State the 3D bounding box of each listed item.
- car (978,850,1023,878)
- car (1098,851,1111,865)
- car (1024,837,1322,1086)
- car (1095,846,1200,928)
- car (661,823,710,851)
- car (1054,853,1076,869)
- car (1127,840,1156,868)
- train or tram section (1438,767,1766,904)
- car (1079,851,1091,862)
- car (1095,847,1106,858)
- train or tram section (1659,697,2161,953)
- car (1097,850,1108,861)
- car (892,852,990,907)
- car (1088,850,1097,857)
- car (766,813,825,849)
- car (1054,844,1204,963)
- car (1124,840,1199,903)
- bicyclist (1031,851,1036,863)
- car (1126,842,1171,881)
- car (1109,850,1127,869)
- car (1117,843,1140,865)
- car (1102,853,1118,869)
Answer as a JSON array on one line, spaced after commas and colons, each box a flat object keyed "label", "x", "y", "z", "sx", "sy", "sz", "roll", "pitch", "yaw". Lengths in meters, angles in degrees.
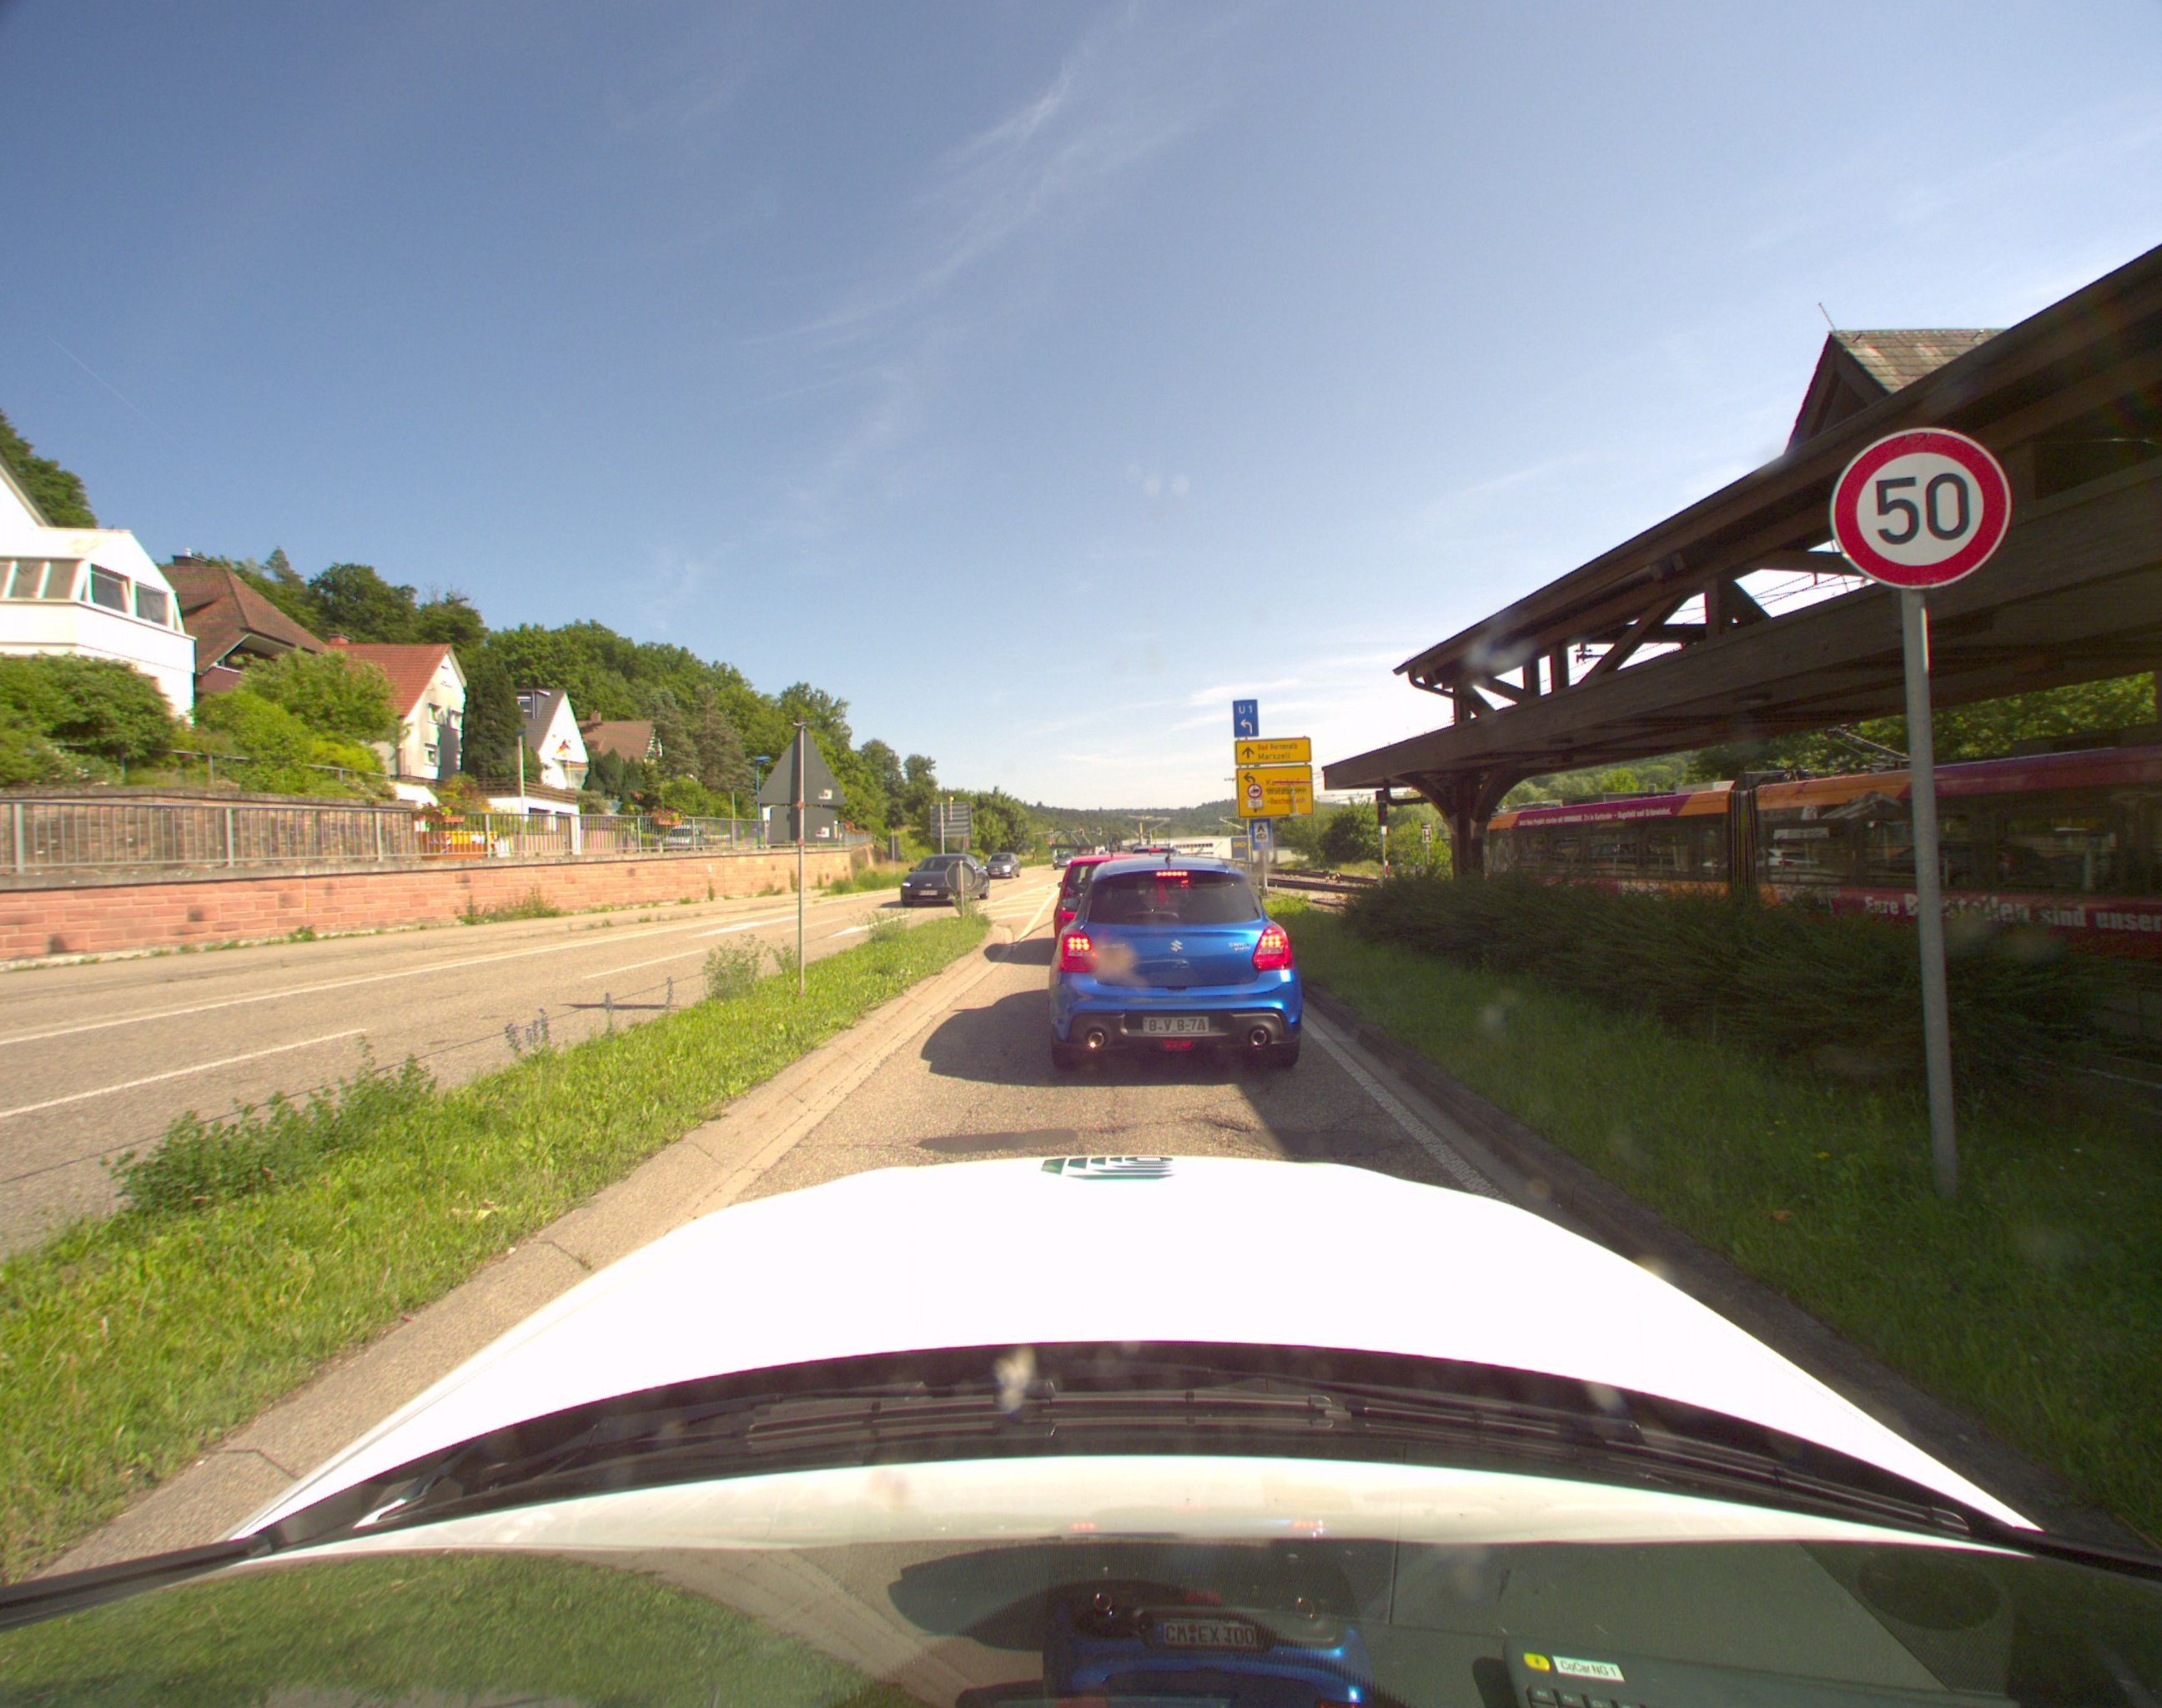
[{"label": "car", "x": -4.827, "y": 0.561, "z": 49.567, "sx": 1.985, "sy": 1.564, "sz": 4.514, "roll": -1, "pitch": 0, "yaw": 4}, {"label": "car", "x": 3.687, "y": 0.625, "z": 126.081, "sx": 1.986, "sy": 2.013, "sz": 4.002, "roll": 0, "pitch": 1, "yaw": 2}, {"label": "car", "x": 0.622, "y": 0.670, "z": 7.146, "sx": 1.862, "sy": 1.548, "sz": 4.001, "roll": -1, "pitch": 0, "yaw": 1}, {"label": "car", "x": 1.417, "y": 0.625, "z": 18.073, "sx": 1.985, "sy": 1.531, "sz": 4.606, "roll": -2, "pitch": 0, "yaw": 3}, {"label": "car", "x": -24.456, "y": -1.007, "z": 50.486, "sx": 1.898, "sy": 1.629, "sz": 3.981, "roll": -1, "pitch": 0, "yaw": -14}, {"label": "car", "x": -1.426, "y": 0.637, "z": 73.825, "sx": 1.665, "sy": 1.441, "sz": 3.843, "roll": -1, "pitch": 0, "yaw": 3}, {"label": "car", "x": 4.503, "y": -0.017, "z": 60.871, "sx": 1.986, "sy": 2.013, "sz": 4.002, "roll": 0, "pitch": 1, "yaw": 2}, {"label": "train or tram section", "x": 15.463, "y": -0.523, "z": 26.040, "sx": 2.747, "sy": 3.364, "sz": 12.046, "roll": 0, "pitch": 1, "yaw": 0}, {"label": "car", "x": 0.676, "y": 0.431, "z": 140.367, "sx": 1.986, "sy": 1.783, "sz": 4.002, "roll": 0, "pitch": 0, "yaw": 2}, {"label": "car", "x": 3.873, "y": -0.249, "z": 161.169, "sx": 1.986, "sy": 2.144, "sz": 4.722, "roll": 0, "pitch": 0, "yaw": 2}, {"label": "train or tram section", "x": 15.545, "y": -0.363, "z": 13.948, "sx": 2.777, "sy": 3.364, "sz": 12.045, "roll": 0, "pitch": 0, "yaw": 0}, {"label": "car", "x": 3.841, "y": 0.205, "z": 144.420, "sx": 1.986, "sy": 1.816, "sz": 4.002, "roll": 0, "pitch": 1, "yaw": 2}, {"label": "car", "x": -4.116, "y": 0.692, "z": 24.710, "sx": 1.783, "sy": 1.470, "sz": 4.722, "roll": -1, "pitch": 0, "yaw": 5}, {"label": "car", "x": 2.670, "y": -0.192, "z": 188.787, "sx": 1.986, "sy": 1.554, "sz": 4.217, "roll": 0, "pitch": 0, "yaw": 2}, {"label": "car", "x": -16.098, "y": -1.273, "z": 46.113, "sx": 2.017, "sy": 1.920, "sz": 4.724, "roll": 0, "pitch": 1, "yaw": -5}, {"label": "car", "x": 0.748, "y": 0.659, "z": 12.817, "sx": 1.985, "sy": 1.571, "sz": 4.004, "roll": 0, "pitch": 0, "yaw": 3}, {"label": "car", "x": 2.296, "y": 0.460, "z": 24.142, "sx": 1.985, "sy": 1.686, "sz": 4.501, "roll": 0, "pitch": 0, "yaw": 3}, {"label": "bicyclist", "x": -6.039, "y": 0.388, "z": 103.277, "sx": 0.627, "sy": 1.507, "sz": 0.506, "roll": 0, "pitch": 1, "yaw": -2}, {"label": "car", "x": 3.111, "y": 0.310, "z": 38.123, "sx": 1.985, "sy": 1.736, "sz": 4.004, "roll": 0, "pitch": 0, "yaw": 3}, {"label": "car", "x": 4.073, "y": 0.553, "z": 90.231, "sx": 1.986, "sy": 2.013, "sz": 4.002, "roll": 0, "pitch": 1, "yaw": 2}, {"label": "car", "x": 4.492, "y": 0.001, "z": 77.485, "sx": 1.986, "sy": 2.013, "sz": 4.002, "roll": 0, "pitch": 1, "yaw": 2}, {"label": "car", "x": 3.814, "y": 0.882, "z": 106.154, "sx": 1.986, "sy": 2.013, "sz": 4.002, "roll": 0, "pitch": 1, "yaw": 2}]
